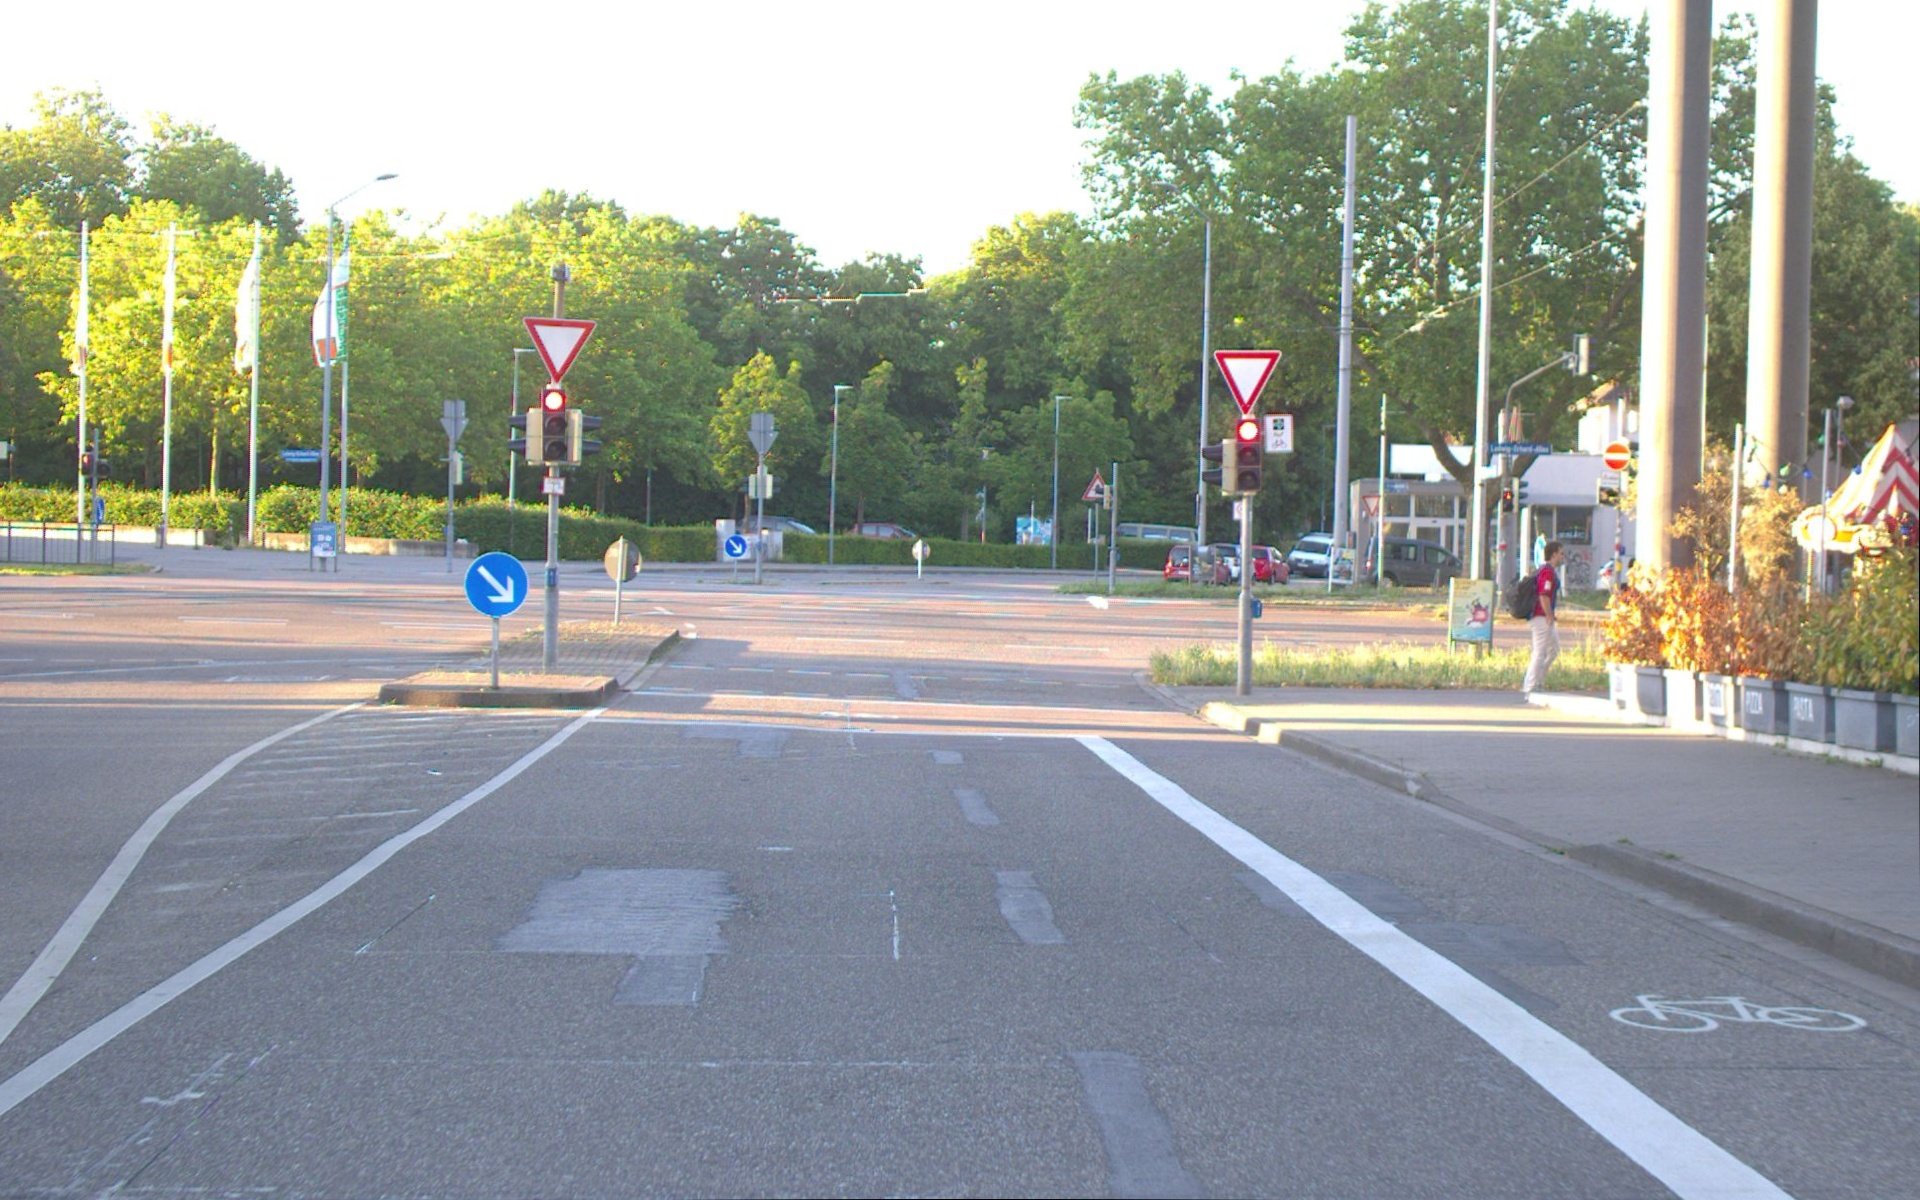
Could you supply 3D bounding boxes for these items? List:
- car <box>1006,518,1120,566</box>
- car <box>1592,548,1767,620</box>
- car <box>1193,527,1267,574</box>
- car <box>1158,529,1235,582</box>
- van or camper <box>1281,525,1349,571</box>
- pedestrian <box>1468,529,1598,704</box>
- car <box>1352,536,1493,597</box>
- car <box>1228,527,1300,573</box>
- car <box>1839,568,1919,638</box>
[{"bbox_3d":[4.409,-2.483,147.202,4.685,1.862,2.013,2,2,6],"label":"car"},{"bbox_3d":[20.162,-0.453,96.471,4.467,1.810,1.945,2,2,1],"label":"car"},{"bbox_3d":[9.752,-1.798,124.097,1.499,1.600,3.399,3,3,25],"label":"car"},{"bbox_3d":[8.303,-1.574,120.461,1.499,1.754,3.399,3,3,25],"label":"car"},{"bbox_3d":[16.079,-2.362,155.465,1.627,1.975,3.801,3,3,29],"label":"van or camper"},{"bbox_3d":[6.180,0.167,37.107,1.053,1.827,0.896,1,2,-14],"label":"pedestrian"},{"bbox_3d":[15.249,-1.106,113.475,4.468,1.810,1.945,2,2,5],"label":"car"},{"bbox_3d":[11.306,-1.866,127.711,1.499,1.600,3.399,3,3,25],"label":"car"},{"bbox_3d":[27.039,0.121,95.957,4.467,1.810,1.945,2,2,1],"label":"car"}]
